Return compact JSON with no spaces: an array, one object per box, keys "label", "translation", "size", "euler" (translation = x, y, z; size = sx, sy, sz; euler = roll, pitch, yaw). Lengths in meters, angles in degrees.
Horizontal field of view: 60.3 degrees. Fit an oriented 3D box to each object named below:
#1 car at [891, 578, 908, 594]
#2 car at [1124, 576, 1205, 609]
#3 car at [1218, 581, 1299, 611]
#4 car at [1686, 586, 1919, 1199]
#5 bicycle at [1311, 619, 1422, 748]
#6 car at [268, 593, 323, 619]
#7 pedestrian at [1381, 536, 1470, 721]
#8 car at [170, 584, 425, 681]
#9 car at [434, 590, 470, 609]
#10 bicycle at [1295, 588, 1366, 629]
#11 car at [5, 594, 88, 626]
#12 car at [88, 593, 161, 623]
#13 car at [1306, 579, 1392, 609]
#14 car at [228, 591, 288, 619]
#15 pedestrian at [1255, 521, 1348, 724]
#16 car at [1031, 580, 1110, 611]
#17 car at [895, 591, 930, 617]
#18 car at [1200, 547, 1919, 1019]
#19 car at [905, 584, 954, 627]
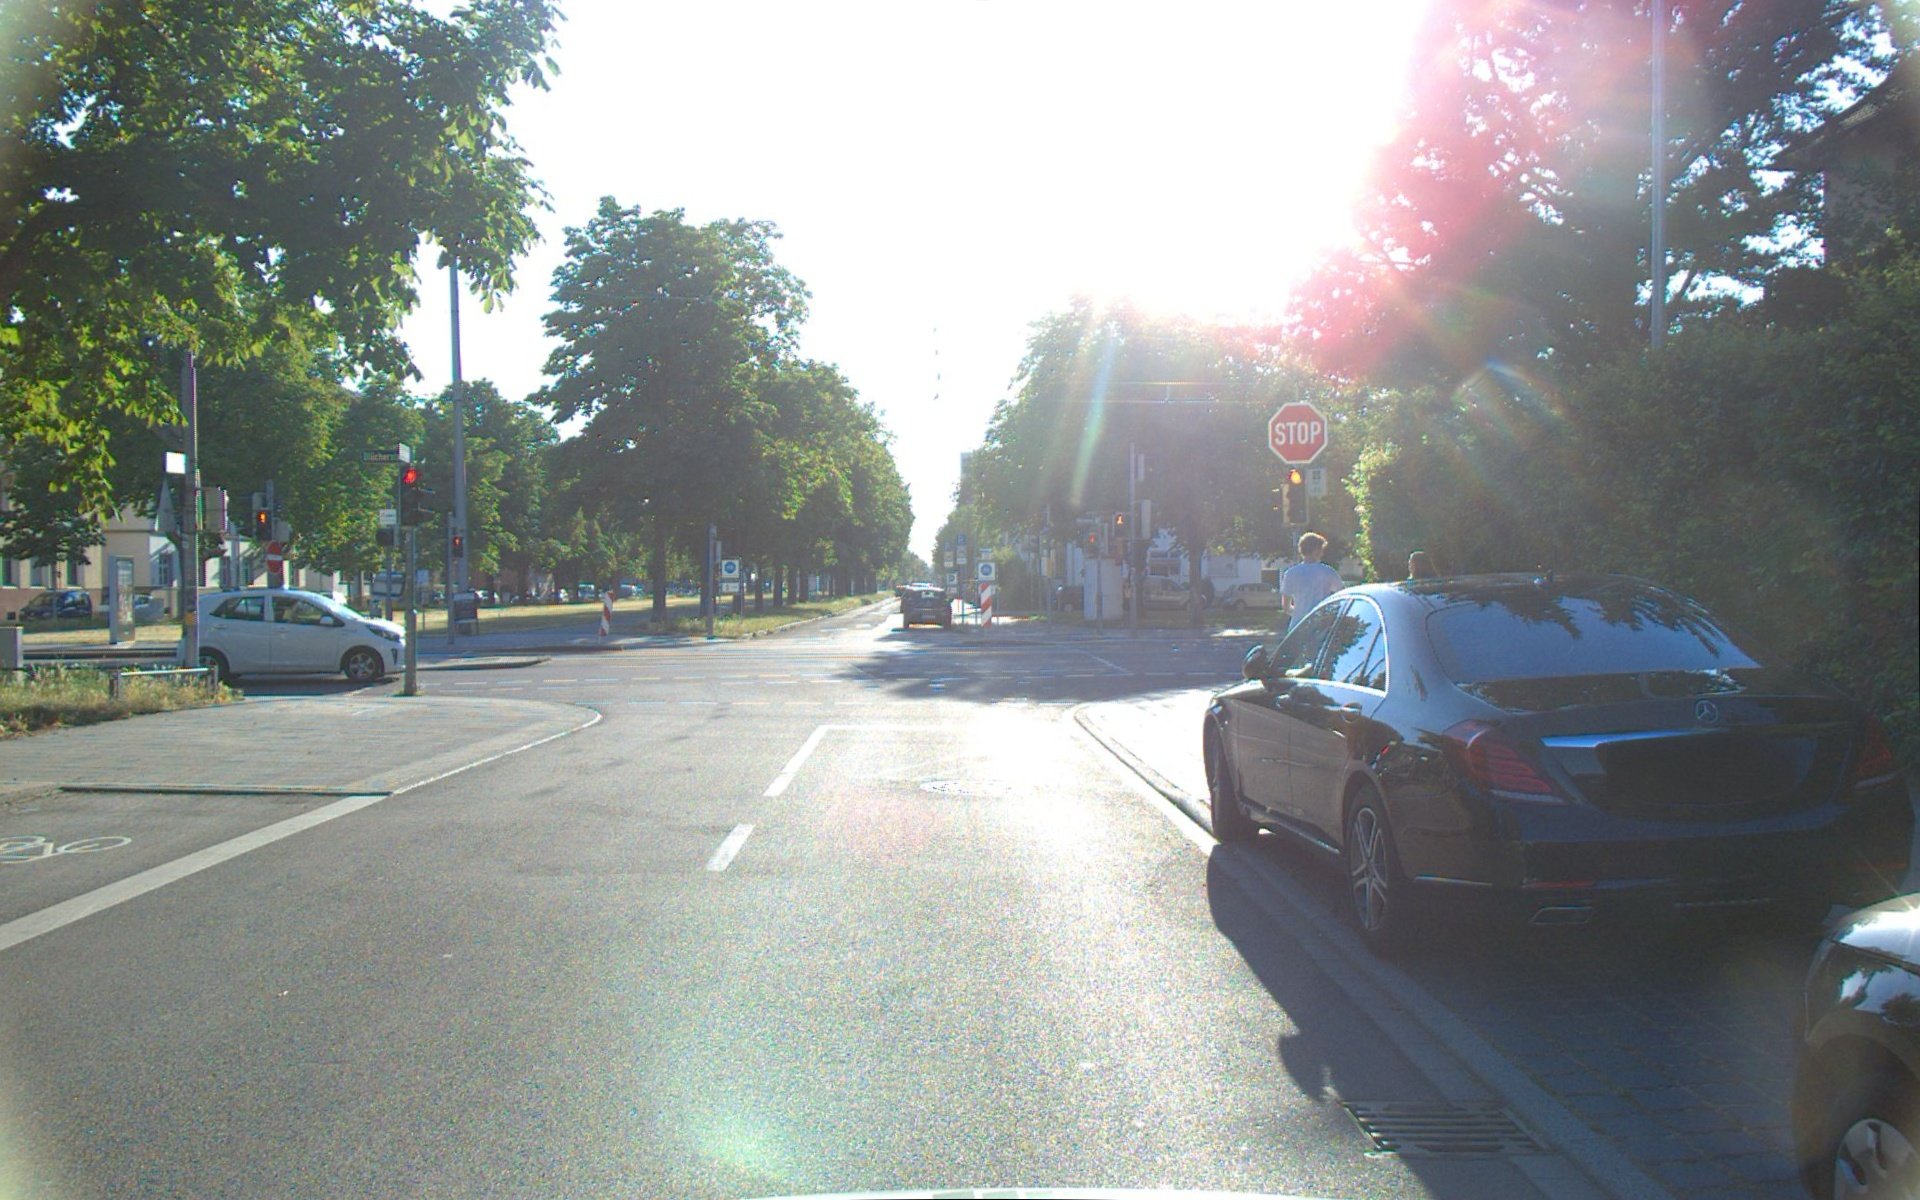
[{"label":"car","translation":[-8.162,-1.883,223.016],"size":[2.090,2.049,3.901],"euler":[0,1,0]},{"label":"car","translation":[9.883,-0.383,80.006],"size":[3.703,1.552,1.743],"euler":[0,2,-1]},{"label":"car","translation":[14.409,-0.202,79.901],"size":[3.592,1.452,1.530],"euler":[0,0,-5]},{"label":"car","translation":[2.613,0.700,2.025],"size":[1.608,1.452,3.935],"euler":[-2,0,-1]},{"label":"bicycle","translation":[3.834,0.761,15.722],"size":[0.477,1.116,1.789],"euler":[0,0,-5]},{"label":"car","translation":[-38.737,0.356,96.463],"size":[1.702,1.452,3.792],"euler":[0,0,-1]},{"label":"pedestrian","translation":[4.458,0.262,15.867],"size":[0.656,1.738,0.622],"euler":[0,0,-4]},{"label":"car","translation":[-10.778,0.502,27.134],"size":[3.622,1.514,1.736],"euler":[0,0,-13]},{"label":"car","translation":[-40.301,-0.027,131.356],"size":[1.702,1.452,3.792],"euler":[0,0,-1]},{"label":"bicycle","translation":[10.631,0.235,47.526],"size":[1.913,1.152,0.620],"euler":[0,0,1]},{"label":"car","translation":[-44.404,0.462,80.479],"size":[1.701,1.422,3.795],"euler":[0,2,5]},{"label":"car","translation":[-44.066,0.392,87.297],"size":[1.701,1.452,3.795],"euler":[0,2,5]},{"label":"car","translation":[18.947,-0.297,80.650],"size":[3.770,1.452,1.596],"euler":[0,0,-5]},{"label":"car","translation":[-38.531,0.269,90.818],"size":[1.702,1.452,3.792],"euler":[0,1,-1]},{"label":"pedestrian","translation":[3.272,0.210,15.920],"size":[0.657,1.898,0.881],"euler":[0,0,-4]},{"label":"car","translation":[5.300,-0.229,79.714],"size":[3.703,1.452,1.743],"euler":[0,2,-1]},{"label":"car","translation":[-2.643,0.194,92.612],"size":[1.808,1.418,3.828],"euler":[0,1,0]},{"label":"car","translation":[2.539,0.593,8.014],"size":[1.822,1.569,4.870],"euler":[0,0,-3]},{"label":"car","translation":[-1.060,0.179,58.649],"size":[1.607,1.476,3.308],"euler":[0,1,1]}]
